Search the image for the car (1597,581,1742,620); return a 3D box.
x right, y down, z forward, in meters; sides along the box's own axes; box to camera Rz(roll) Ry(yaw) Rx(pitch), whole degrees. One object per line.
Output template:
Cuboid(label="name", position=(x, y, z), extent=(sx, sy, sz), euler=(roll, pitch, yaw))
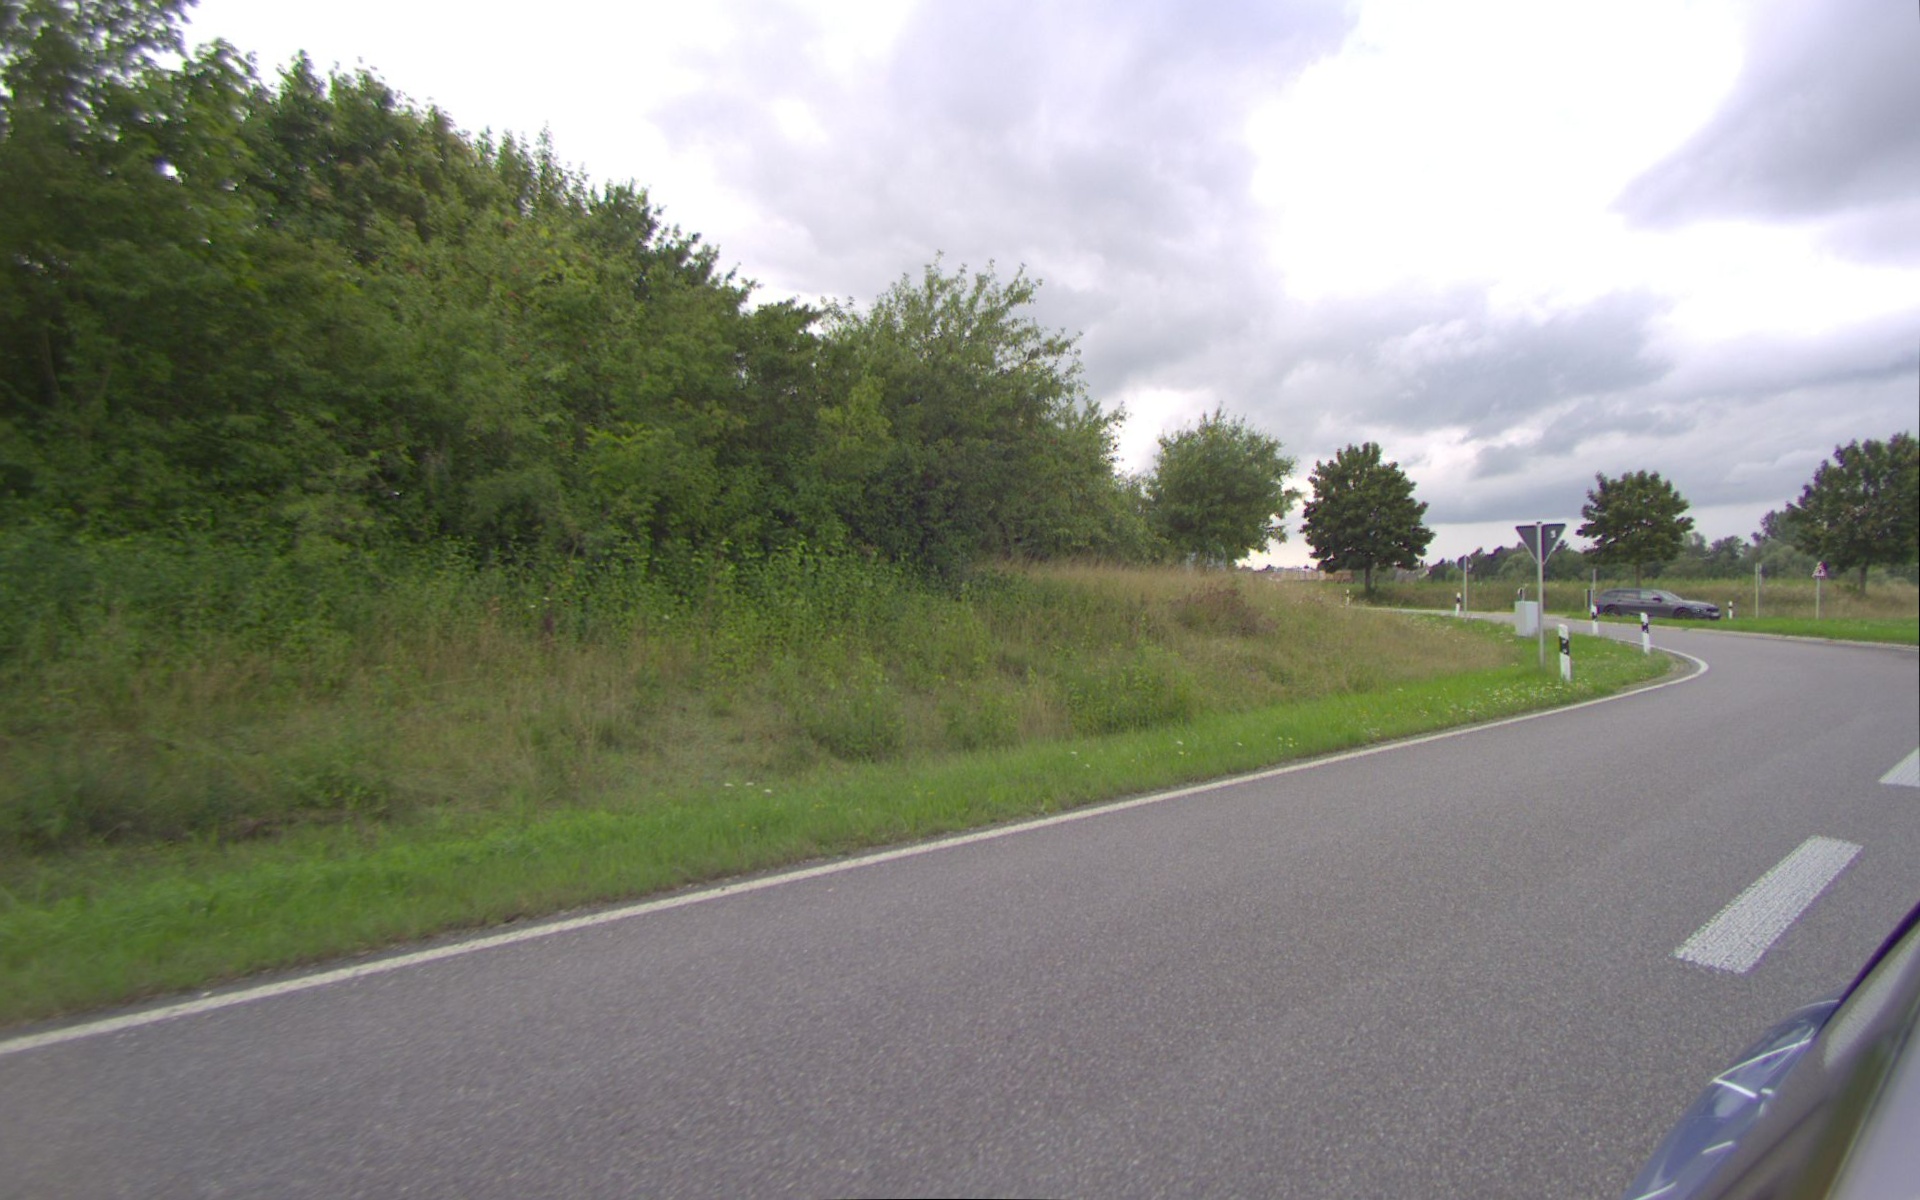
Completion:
Cuboid(label="car", position=(30.199, -0.016, 43.229), extent=(1.960, 1.522, 4.671), euler=(0, 1, -31))
